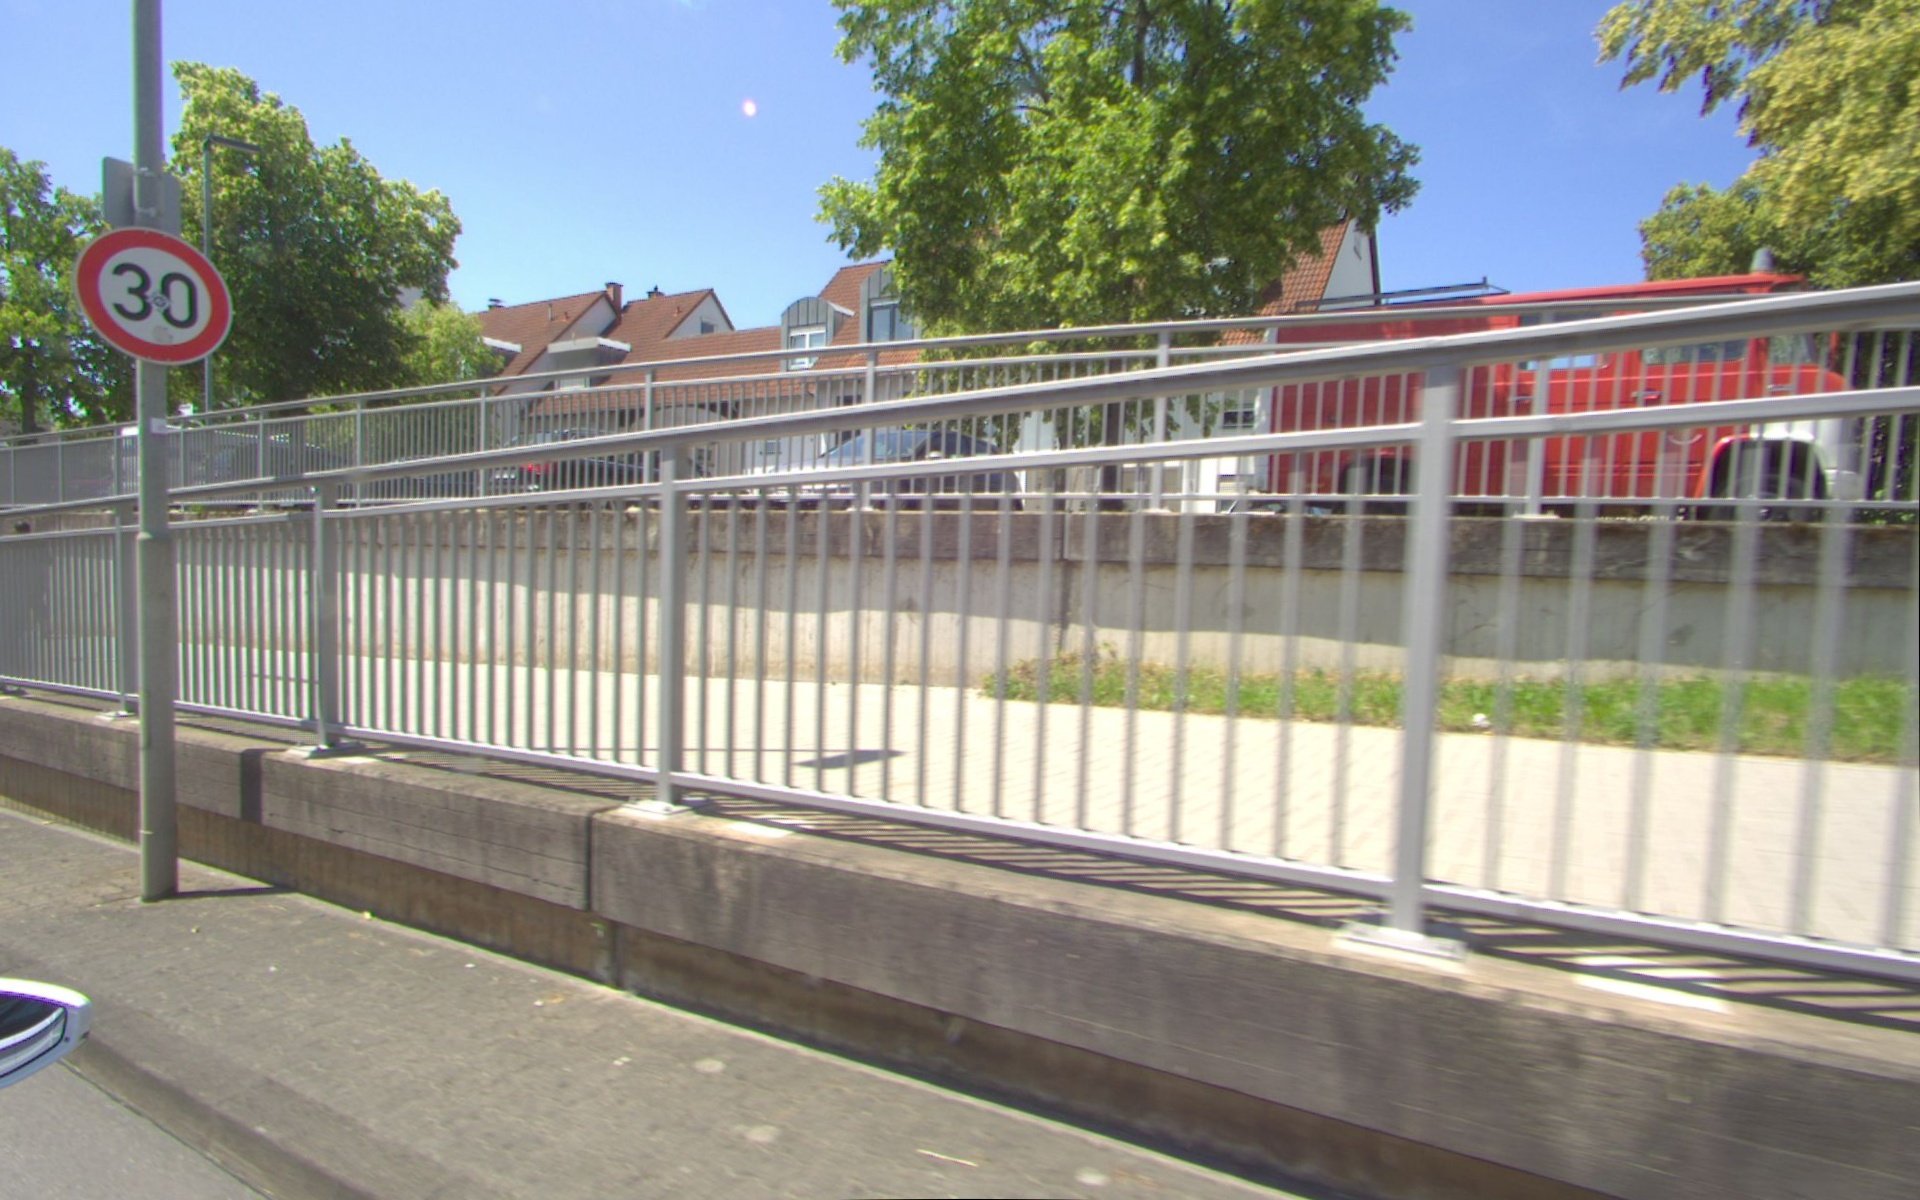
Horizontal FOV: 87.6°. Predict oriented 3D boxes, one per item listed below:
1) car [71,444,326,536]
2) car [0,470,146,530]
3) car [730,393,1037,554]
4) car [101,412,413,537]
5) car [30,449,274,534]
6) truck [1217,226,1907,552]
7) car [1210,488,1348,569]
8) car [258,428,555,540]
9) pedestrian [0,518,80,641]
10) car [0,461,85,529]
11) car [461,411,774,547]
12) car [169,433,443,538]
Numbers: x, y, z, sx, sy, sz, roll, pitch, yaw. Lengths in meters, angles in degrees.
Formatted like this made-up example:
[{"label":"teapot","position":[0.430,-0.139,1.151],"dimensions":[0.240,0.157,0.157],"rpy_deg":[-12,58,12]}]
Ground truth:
[{"label":"car","position":[-16.724,-2.344,22.207],"dimensions":[1.662,1.618,4.194],"rpy_deg":[3,2,33]},{"label":"car","position":[-24.983,-2.710,27.390],"dimensions":[1.662,1.386,3.896],"rpy_deg":[3,2,33]},{"label":"car","position":[-0.781,-1.417,12.480],"dimensions":[1.723,1.519,3.977],"rpy_deg":[3,2,33]},{"label":"car","position":[-14.735,-2.515,21.350],"dimensions":[1.960,2.092,5.099],"rpy_deg":[3,2,33]},{"label":"car","position":[-18.878,-2.467,23.602],"dimensions":[1.662,1.618,4.194],"rpy_deg":[3,2,33]},{"label":"truck","position":[5.442,-1.746,9.862],"dimensions":[5.182,2.366,2.128],"rpy_deg":[3,2,32]},{"label":"car","position":[6.650,-1.423,20.634],"dimensions":[1.732,1.499,3.926],"rpy_deg":[3,4,32]},{"label":"car","position":[-9.518,-1.918,17.566],"dimensions":[1.723,1.519,4.275],"rpy_deg":[3,2,33]},{"label":"pedestrian","position":[-14.089,-0.298,15.249],"dimensions":[0.777,1.806,0.834],"rpy_deg":[1,1,33]},{"label":"car","position":[-29.003,-3.186,30.016],"dimensions":[1.662,1.911,3.896],"rpy_deg":[3,2,33]},{"label":"car","position":[-4.804,-1.623,14.627],"dimensions":[1.662,1.519,4.194],"rpy_deg":[3,2,33]},{"label":"car","position":[-12.619,-2.139,19.588],"dimensions":[1.662,1.618,4.194],"rpy_deg":[3,2,33]}]
